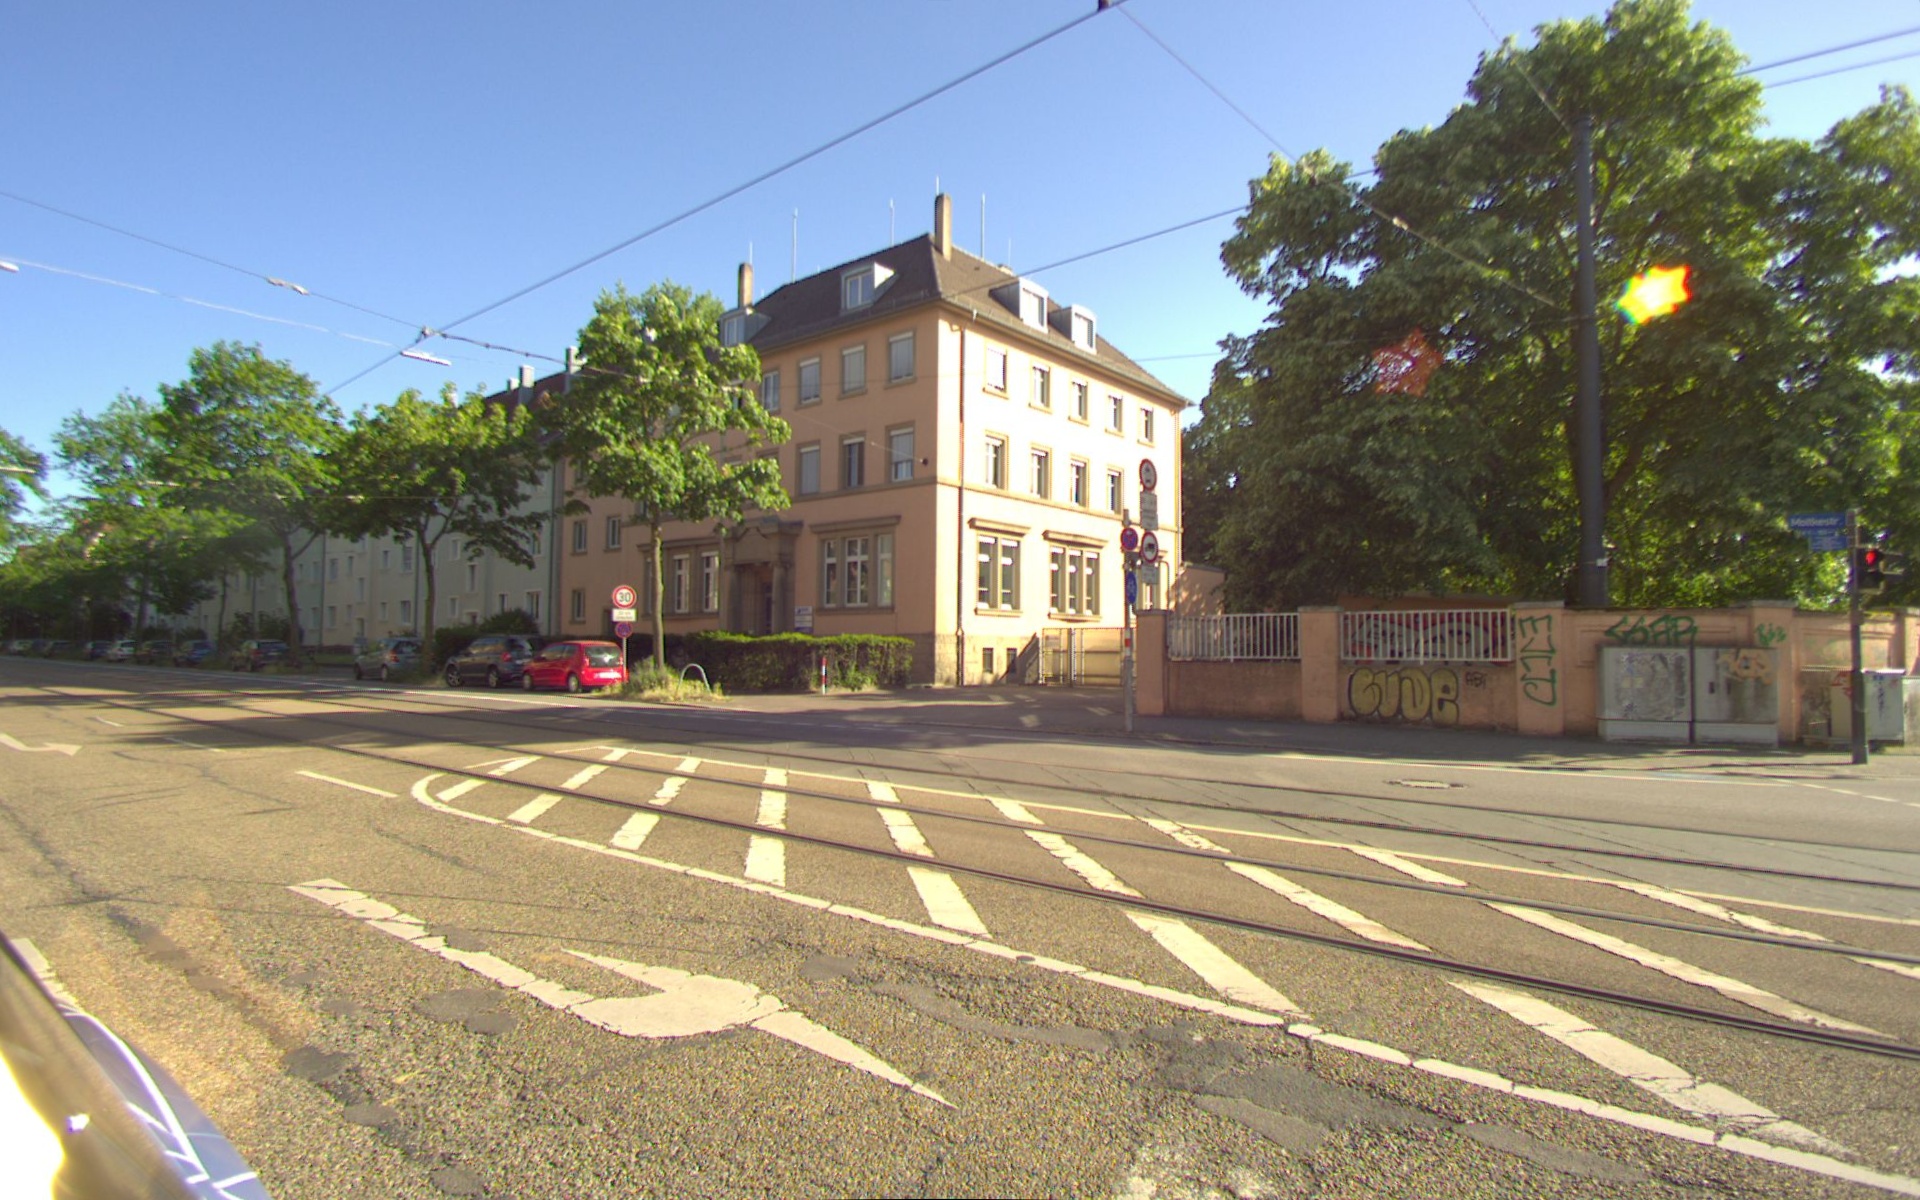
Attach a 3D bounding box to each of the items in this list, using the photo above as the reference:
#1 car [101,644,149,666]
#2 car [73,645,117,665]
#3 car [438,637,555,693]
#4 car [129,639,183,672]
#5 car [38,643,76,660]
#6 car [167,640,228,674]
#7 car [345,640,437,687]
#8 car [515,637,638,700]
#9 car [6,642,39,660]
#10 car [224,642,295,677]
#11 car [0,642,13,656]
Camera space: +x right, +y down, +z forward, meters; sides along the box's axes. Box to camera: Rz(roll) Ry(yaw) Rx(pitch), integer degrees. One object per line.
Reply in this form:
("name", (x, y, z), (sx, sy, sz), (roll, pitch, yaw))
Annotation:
("car", (-56.574, 3.739, 68.576), (3.626, 1.430, 1.793), (-2, -4, 39))
("car", (-63.462, 4.011, 74.238), (3.626, 1.430, 1.793), (-2, -4, 39))
("car", (-14.810, 2.053, 32.293), (3.813, 1.671, 1.794), (-2, -4, 37))
("car", (-49.557, 3.397, 62.399), (3.626, 1.956, 1.793), (-2, -4, 39))
("car", (-76.143, 4.361, 85.362), (3.626, 1.430, 1.793), (-2, -4, 39))
("car", (-42.627, 3.150, 56.553), (3.791, 1.839, 1.793), (-2, -4, 39))
("car", (-21.436, 2.374, 38.082), (3.874, 1.671, 1.792), (-2, -4, 41))
("car", (-11.181, 1.958, 29.456), (3.369, 1.719, 1.794), (-2, -4, 37))
("car", (-93.621, 5.075, 101.050), (3.626, 1.792, 1.793), (-2, -4, 39))
("car", (-33.720, 2.848, 48.684), (3.626, 1.611, 1.793), (-2, -4, 39))
("car", (-102.836, 5.210, 108.160), (3.626, 1.535, 1.793), (-2, -4, 39))
